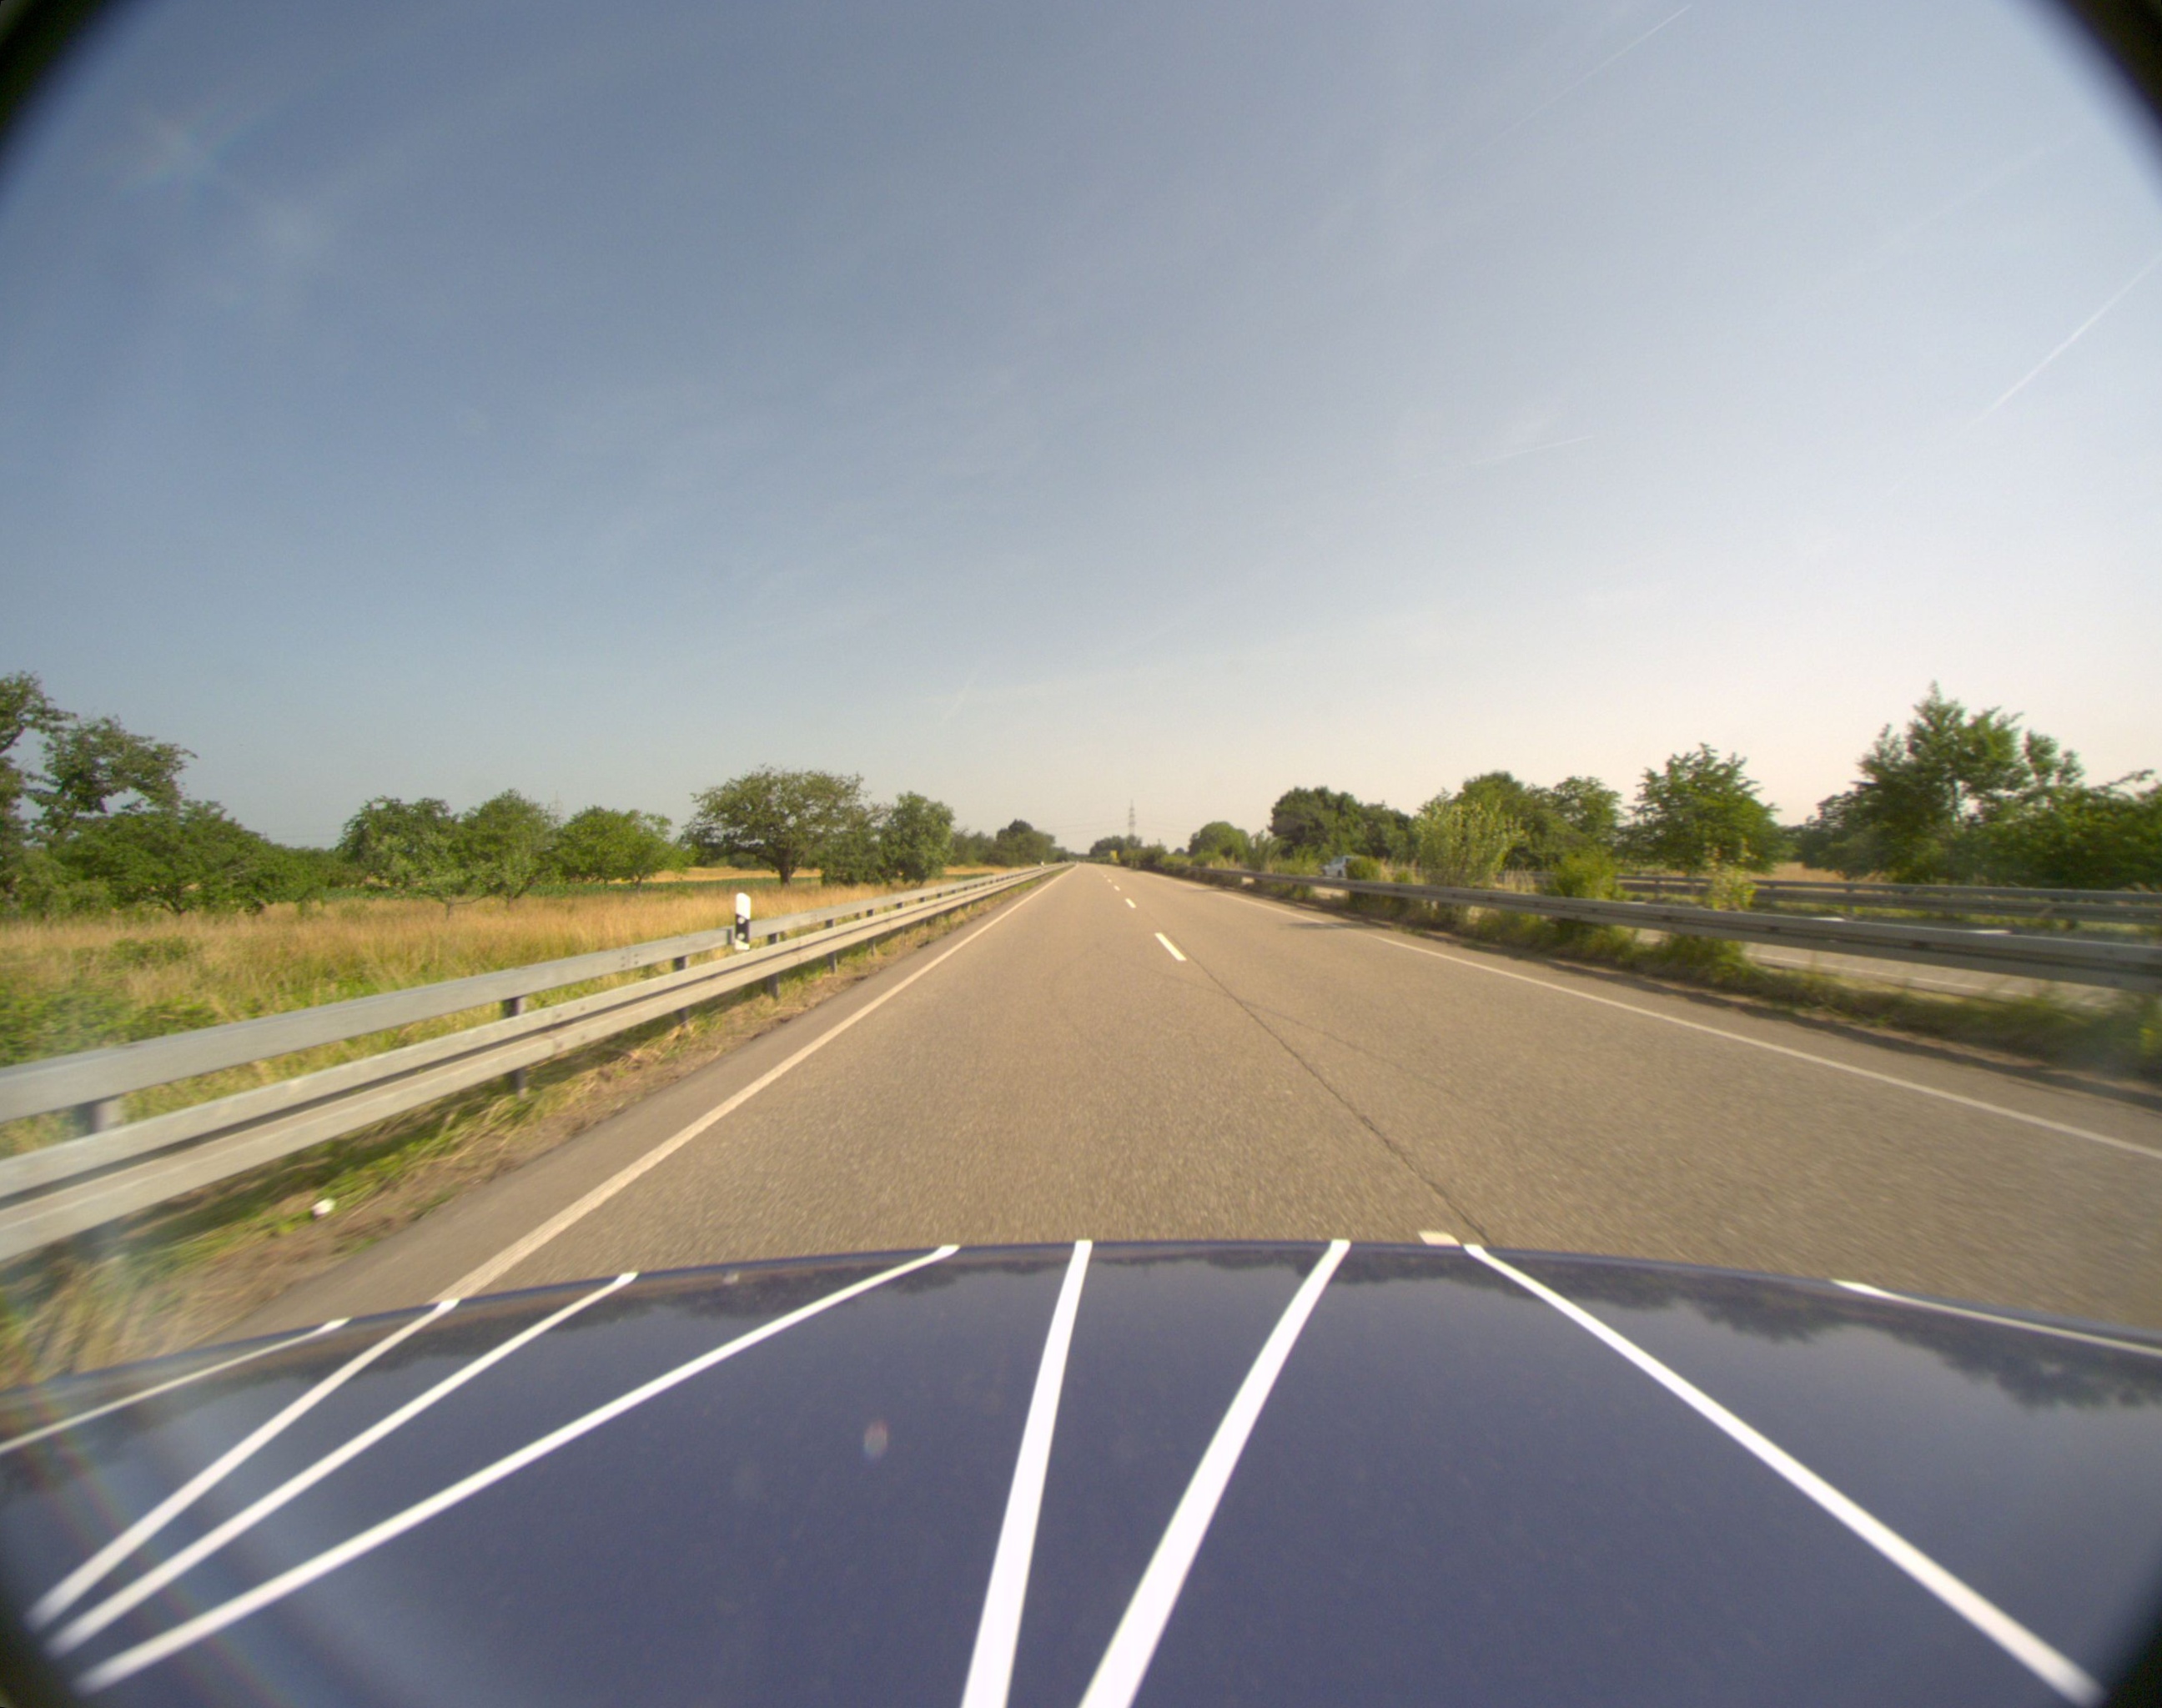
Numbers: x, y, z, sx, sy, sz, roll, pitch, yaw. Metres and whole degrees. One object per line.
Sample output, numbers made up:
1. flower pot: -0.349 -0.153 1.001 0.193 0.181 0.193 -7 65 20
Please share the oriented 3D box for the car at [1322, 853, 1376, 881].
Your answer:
1. car: 15.559 0.736 44.369 1.697 1.518 4.188 -1 0 1
